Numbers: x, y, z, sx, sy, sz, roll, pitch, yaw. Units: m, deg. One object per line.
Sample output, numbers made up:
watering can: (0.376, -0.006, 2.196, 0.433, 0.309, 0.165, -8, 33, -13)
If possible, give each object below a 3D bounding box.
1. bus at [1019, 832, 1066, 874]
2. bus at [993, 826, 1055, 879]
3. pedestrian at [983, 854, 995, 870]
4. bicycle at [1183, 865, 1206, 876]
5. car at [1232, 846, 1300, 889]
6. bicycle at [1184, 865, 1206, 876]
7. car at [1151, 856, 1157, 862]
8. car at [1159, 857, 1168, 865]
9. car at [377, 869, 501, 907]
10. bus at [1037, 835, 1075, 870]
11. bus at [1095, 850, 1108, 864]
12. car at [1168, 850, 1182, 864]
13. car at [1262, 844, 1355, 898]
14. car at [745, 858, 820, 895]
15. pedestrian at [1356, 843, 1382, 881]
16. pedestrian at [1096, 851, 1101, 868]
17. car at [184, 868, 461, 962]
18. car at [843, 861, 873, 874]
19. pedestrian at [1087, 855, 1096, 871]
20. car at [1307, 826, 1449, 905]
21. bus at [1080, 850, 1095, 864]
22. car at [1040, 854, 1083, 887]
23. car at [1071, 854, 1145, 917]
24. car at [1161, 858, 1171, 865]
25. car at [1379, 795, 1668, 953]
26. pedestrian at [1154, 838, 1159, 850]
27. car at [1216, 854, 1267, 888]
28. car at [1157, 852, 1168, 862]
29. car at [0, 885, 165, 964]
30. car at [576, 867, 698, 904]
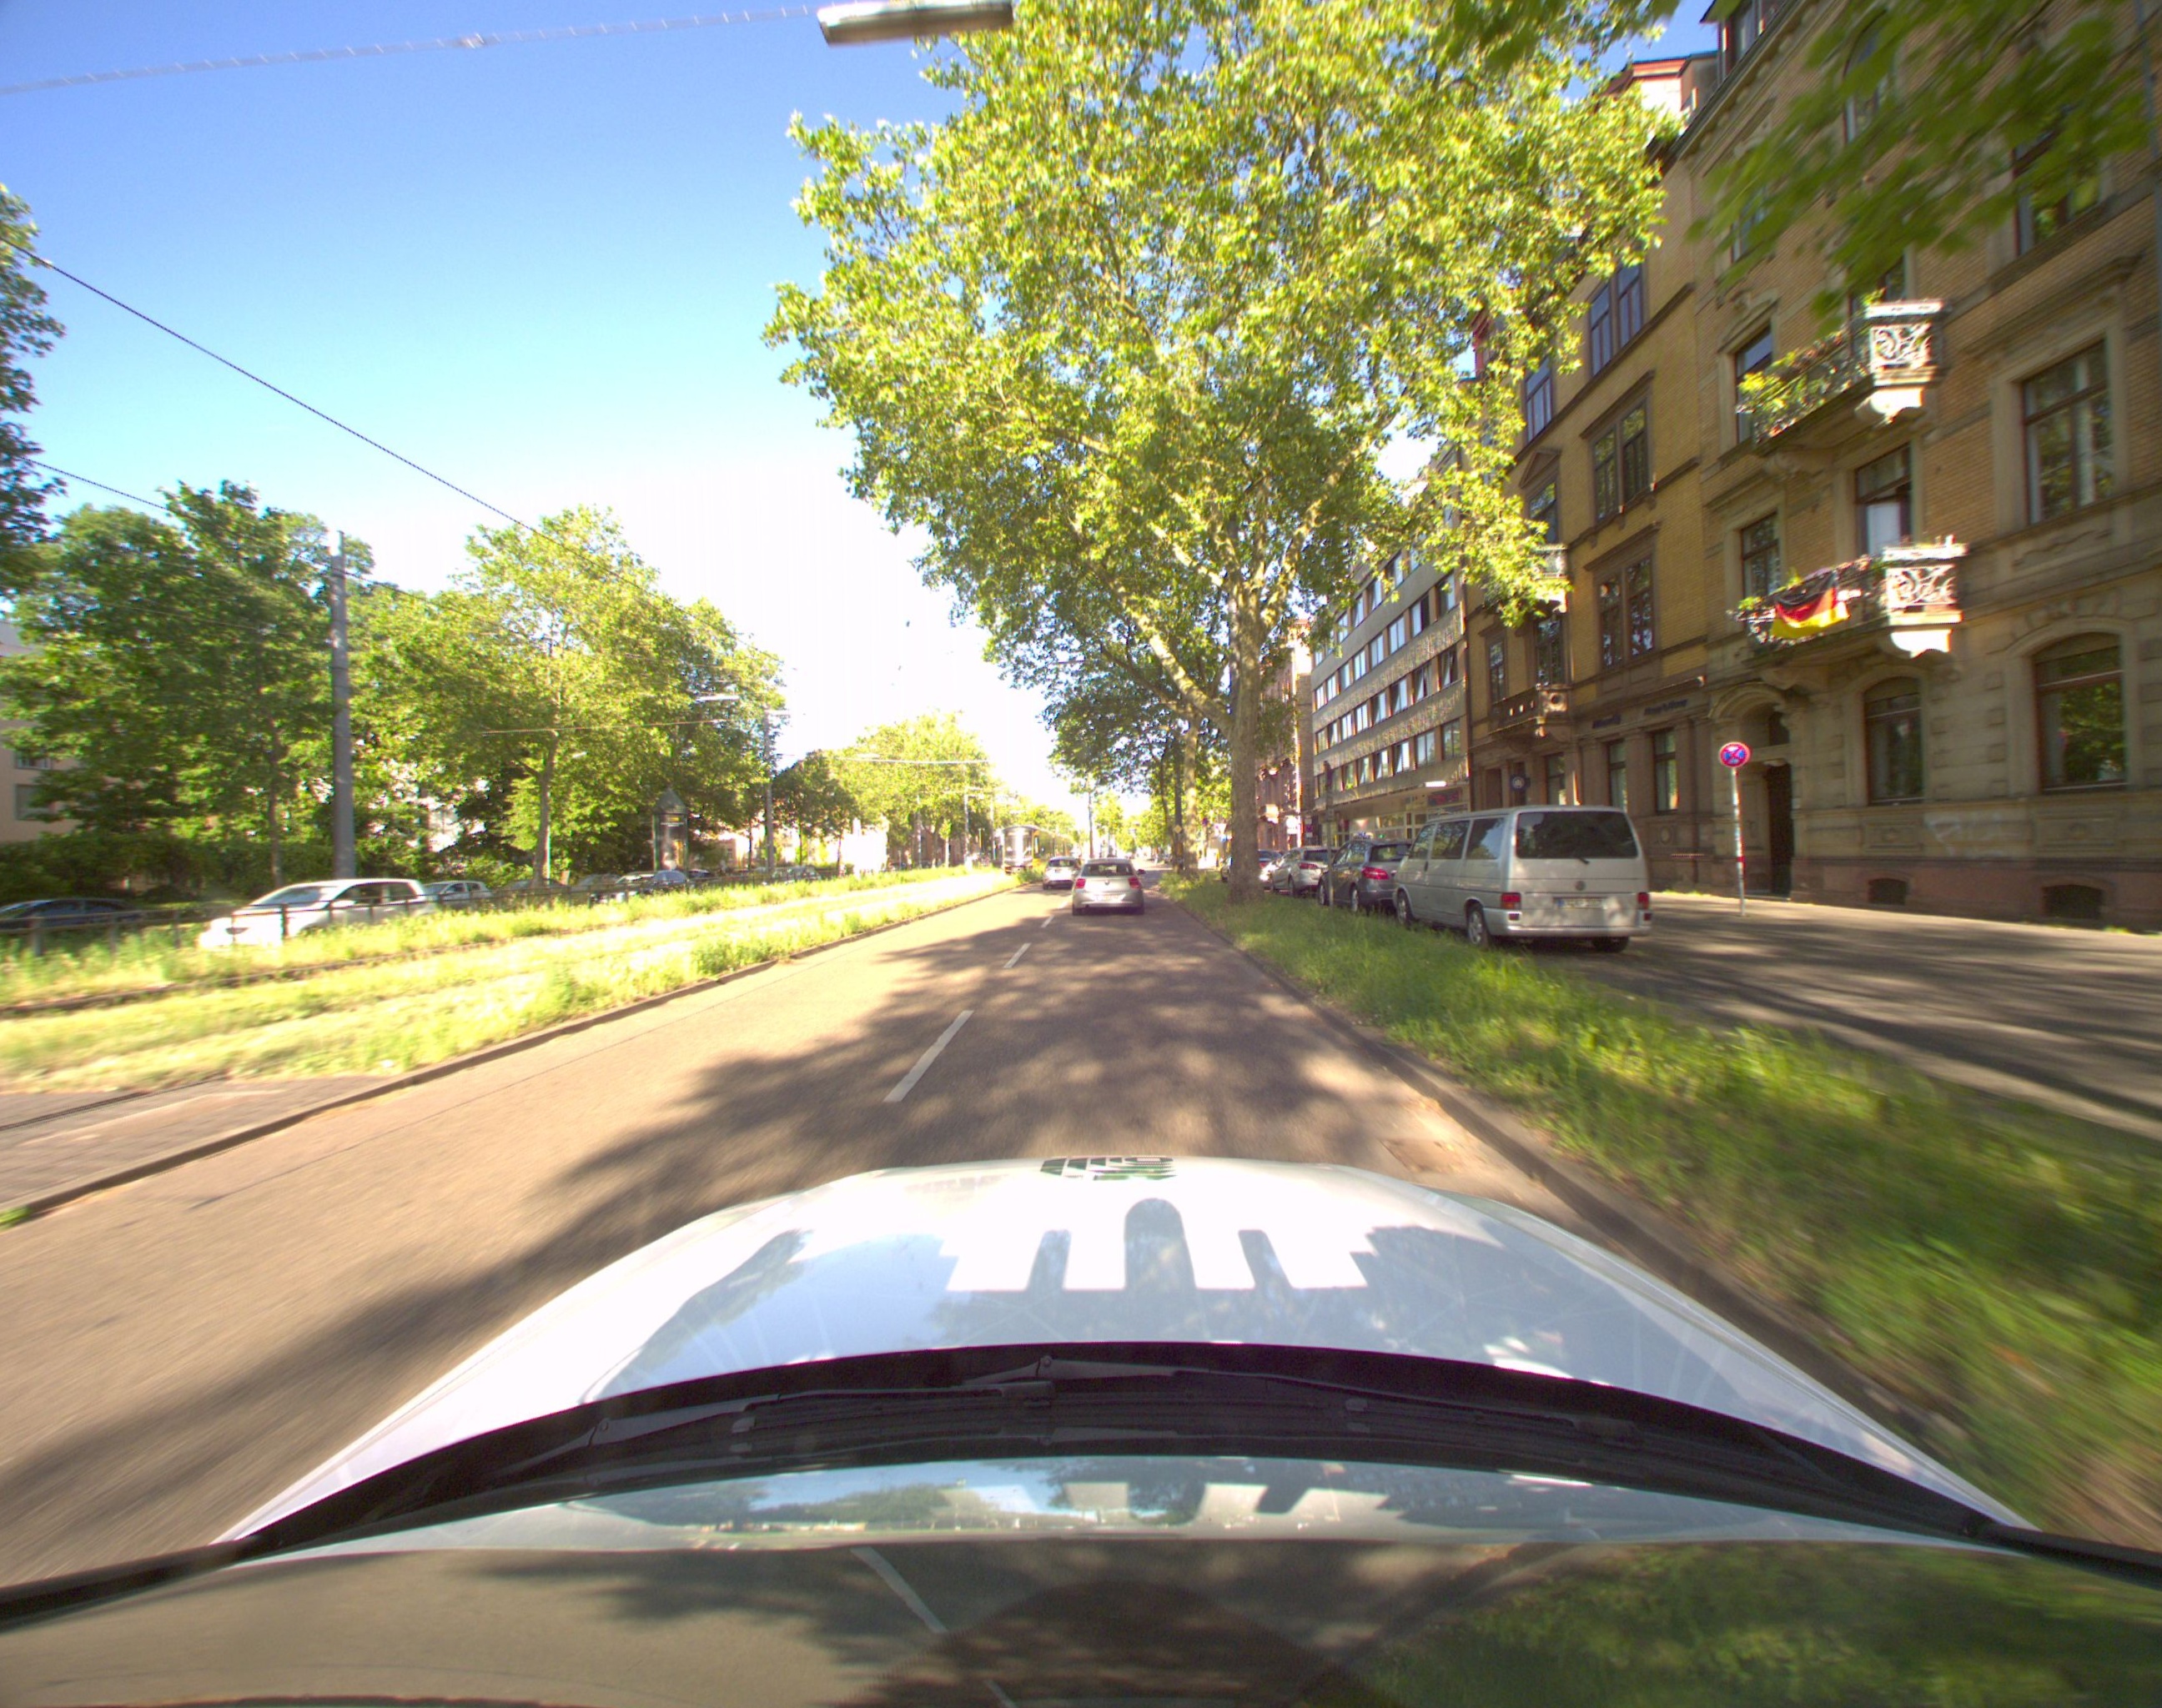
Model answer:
bus: (-3.260, -0.095, 73.245, 2.857, 3.444, 12.226, -1, 0, 3)
bus: (-3.980, -0.122, 60.543, 2.857, 3.444, 13.229, -1, 0, 3)
pedestrian: (-9.724, 0.873, 85.741, 1.174, 1.643, 0.891, -2, -1, -4)
bicycle: (10.547, 1.541, 75.691, 2.007, 0.993, 0.444, 0, 0, 0)
car: (6.847, 0.469, 30.608, 1.798, 1.490, 4.925, 0, 0, 4)
bicycle: (10.536, 1.545, 75.179, 1.996, 0.993, 0.444, 0, 0, 0)
car: (19.174, 1.362, 214.085, 1.693, 1.534, 3.720, 0, 1, 3)
car: (17.433, 1.412, 172.327, 1.662, 1.551, 4.004, 0, 1, 3)
car: (-25.288, 1.294, 32.259, 1.761, 1.312, 3.784, 0, 1, 3)
bus: (-2.514, -0.146, 85.190, 2.857, 3.444, 11.621, -1, 0, 3)
bus: (5.894, 0.885, 229.538, 2.738, 3.625, 18.865, -1, 0, 4)
car: (14.439, 0.456, 125.297, 1.747, 1.964, 4.741, -1, 0, 3)
car: (6.740, 0.473, 24.582, 1.671, 1.466, 4.672, 0, 0, 2)
car: (-13.822, 1.001, 37.970, 1.786, 1.552, 4.051, 0, 1, 3)
pedestrian: (13.463, 0.366, 38.037, 0.995, 1.760, 0.716, 0, 0, 3)
pedestrian: (2.002, 0.598, 92.848, 0.450, 1.903, 0.584, -1, 0, -4)
car: (-14.774, 1.110, 16.219, 1.838, 1.530, 3.875, 0, 1, 1)
car: (-22.807, 1.368, 83.487, 1.785, 1.178, 4.003, 0, 0, 3)
pedestrian: (1.242, 1.098, 97.371, 1.068, 1.916, 1.127, -1, -1, 1)
car: (6.219, 0.204, 17.566, 1.697, 1.502, 4.362, 0, 0, 3)
bus: (1.987, 0.768, 232.502, 2.857, 3.628, 24.626, -1, 0, 4)
car: (-0.834, 0.723, 36.731, 1.639, 1.362, 3.763, 0, 1, 3)
car: (0.720, 0.752, 21.317, 1.755, 1.432, 4.003, 0, 1, 2)
car: (17.383, 1.519, 166.842, 1.985, 1.509, 4.601, 0, -1, 3)
car: (5.965, 0.198, 11.779, 1.856, 1.815, 4.805, 0, 1, 4)
pedestrian: (12.846, -1.653, 138.741, 0.833, 2.013, 0.650, 0, 0, 10)
car: (7.413, 0.737, 38.015, 1.694, 1.424, 4.520, 0, 1, 2)
car: (14.112, 0.454, 141.336, 1.685, 1.658, 4.043, -2, 1, 3)
car: (-26.205, 1.717, 20.443, 1.814, 1.683, 4.002, 0, 1, 2)
car: (-16.473, 1.117, 30.536, 1.682, 1.135, 4.712, 0, 1, 4)
